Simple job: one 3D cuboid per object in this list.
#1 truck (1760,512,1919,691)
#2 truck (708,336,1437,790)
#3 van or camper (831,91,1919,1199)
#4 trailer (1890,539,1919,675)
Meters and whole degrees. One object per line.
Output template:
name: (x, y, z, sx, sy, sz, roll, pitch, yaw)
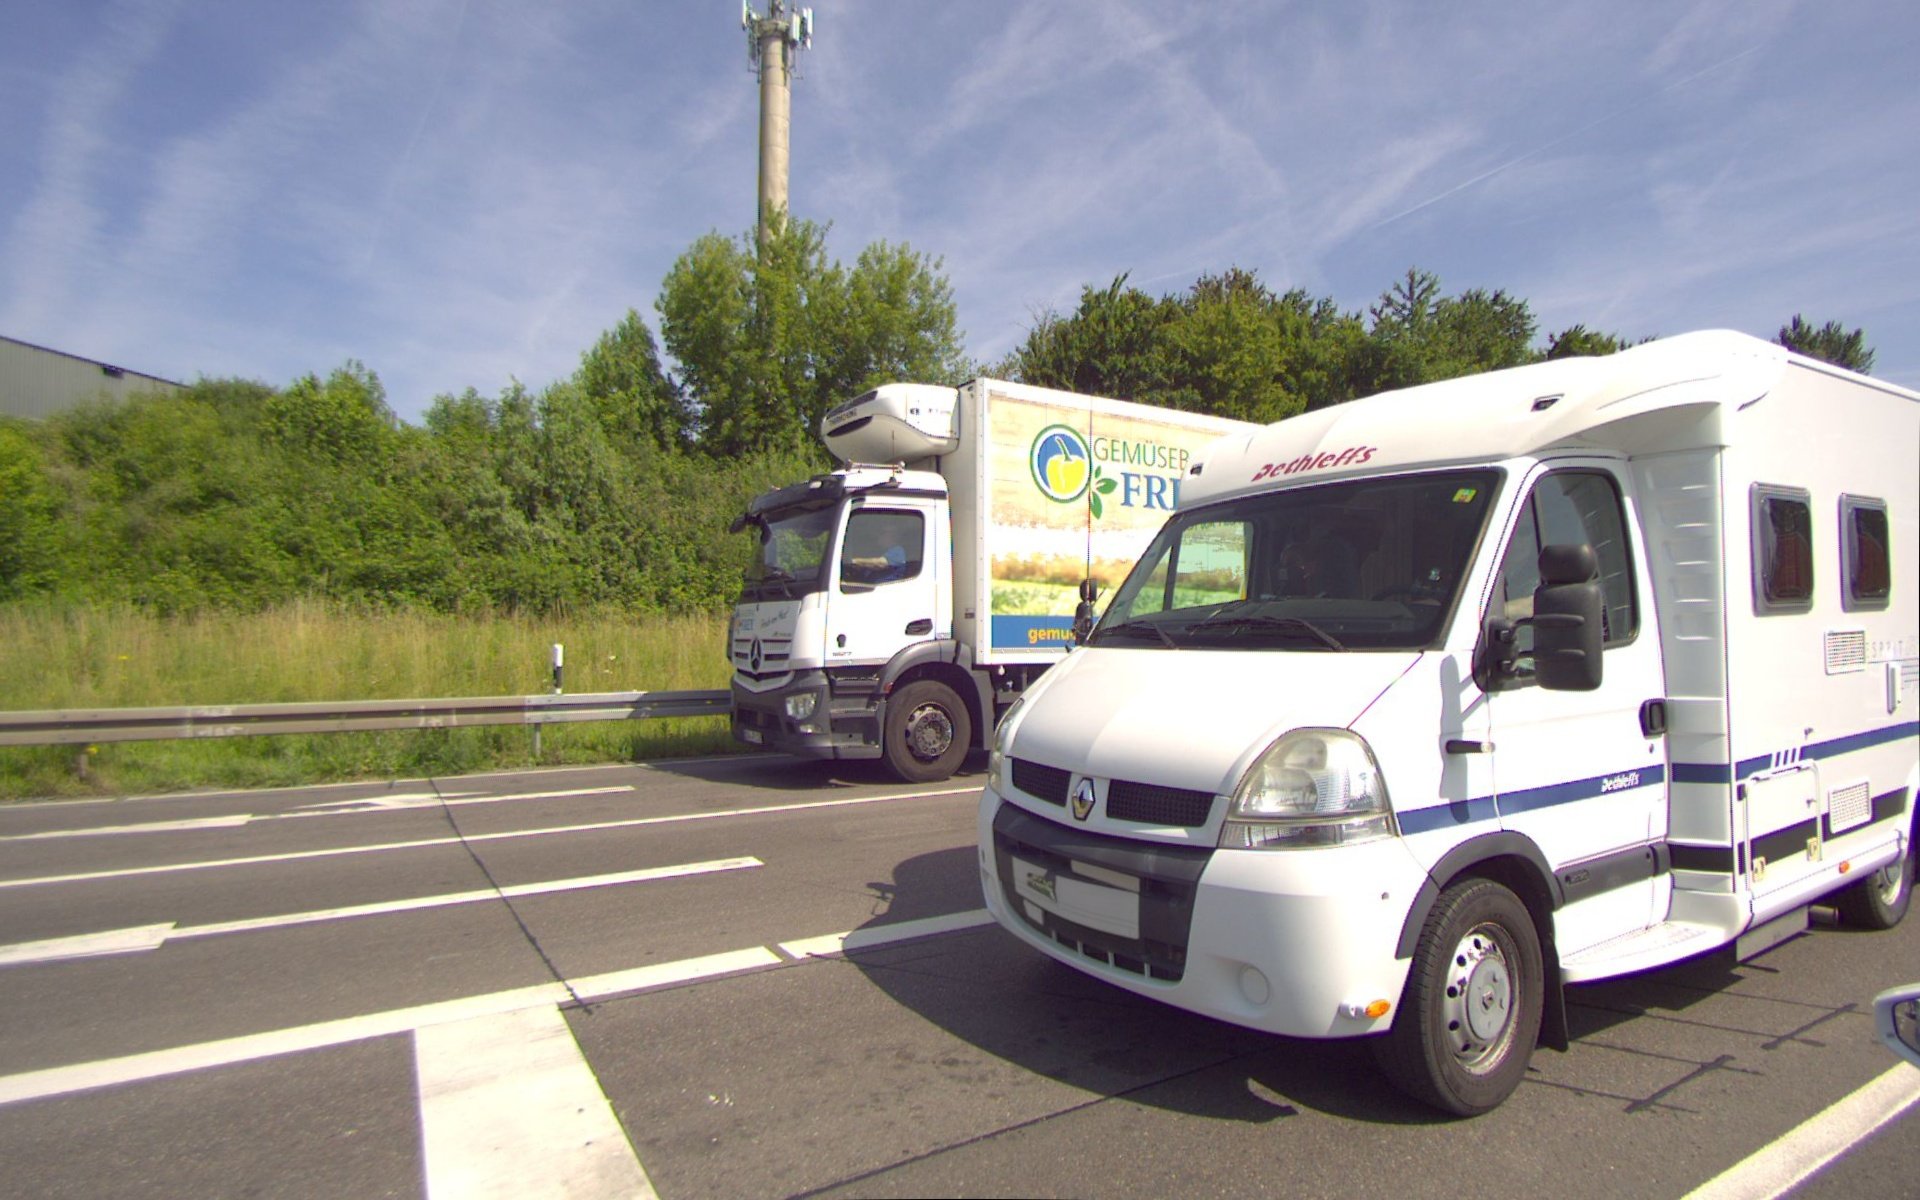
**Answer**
truck: (25.413, 0.166, 27.268, 9.575, 4.170, 2.814, 1, -2, -32)
truck: (1.916, -0.209, 12.641, 9.512, 4.051, 2.715, 1, -2, -32)
van or camper: (2.994, 0.258, 5.038, 6.898, 2.634, 2.319, 1, -2, -31)
trailer: (33.212, 0.281, 32.231, 8.659, 4.123, 2.825, 1, -2, -32)
